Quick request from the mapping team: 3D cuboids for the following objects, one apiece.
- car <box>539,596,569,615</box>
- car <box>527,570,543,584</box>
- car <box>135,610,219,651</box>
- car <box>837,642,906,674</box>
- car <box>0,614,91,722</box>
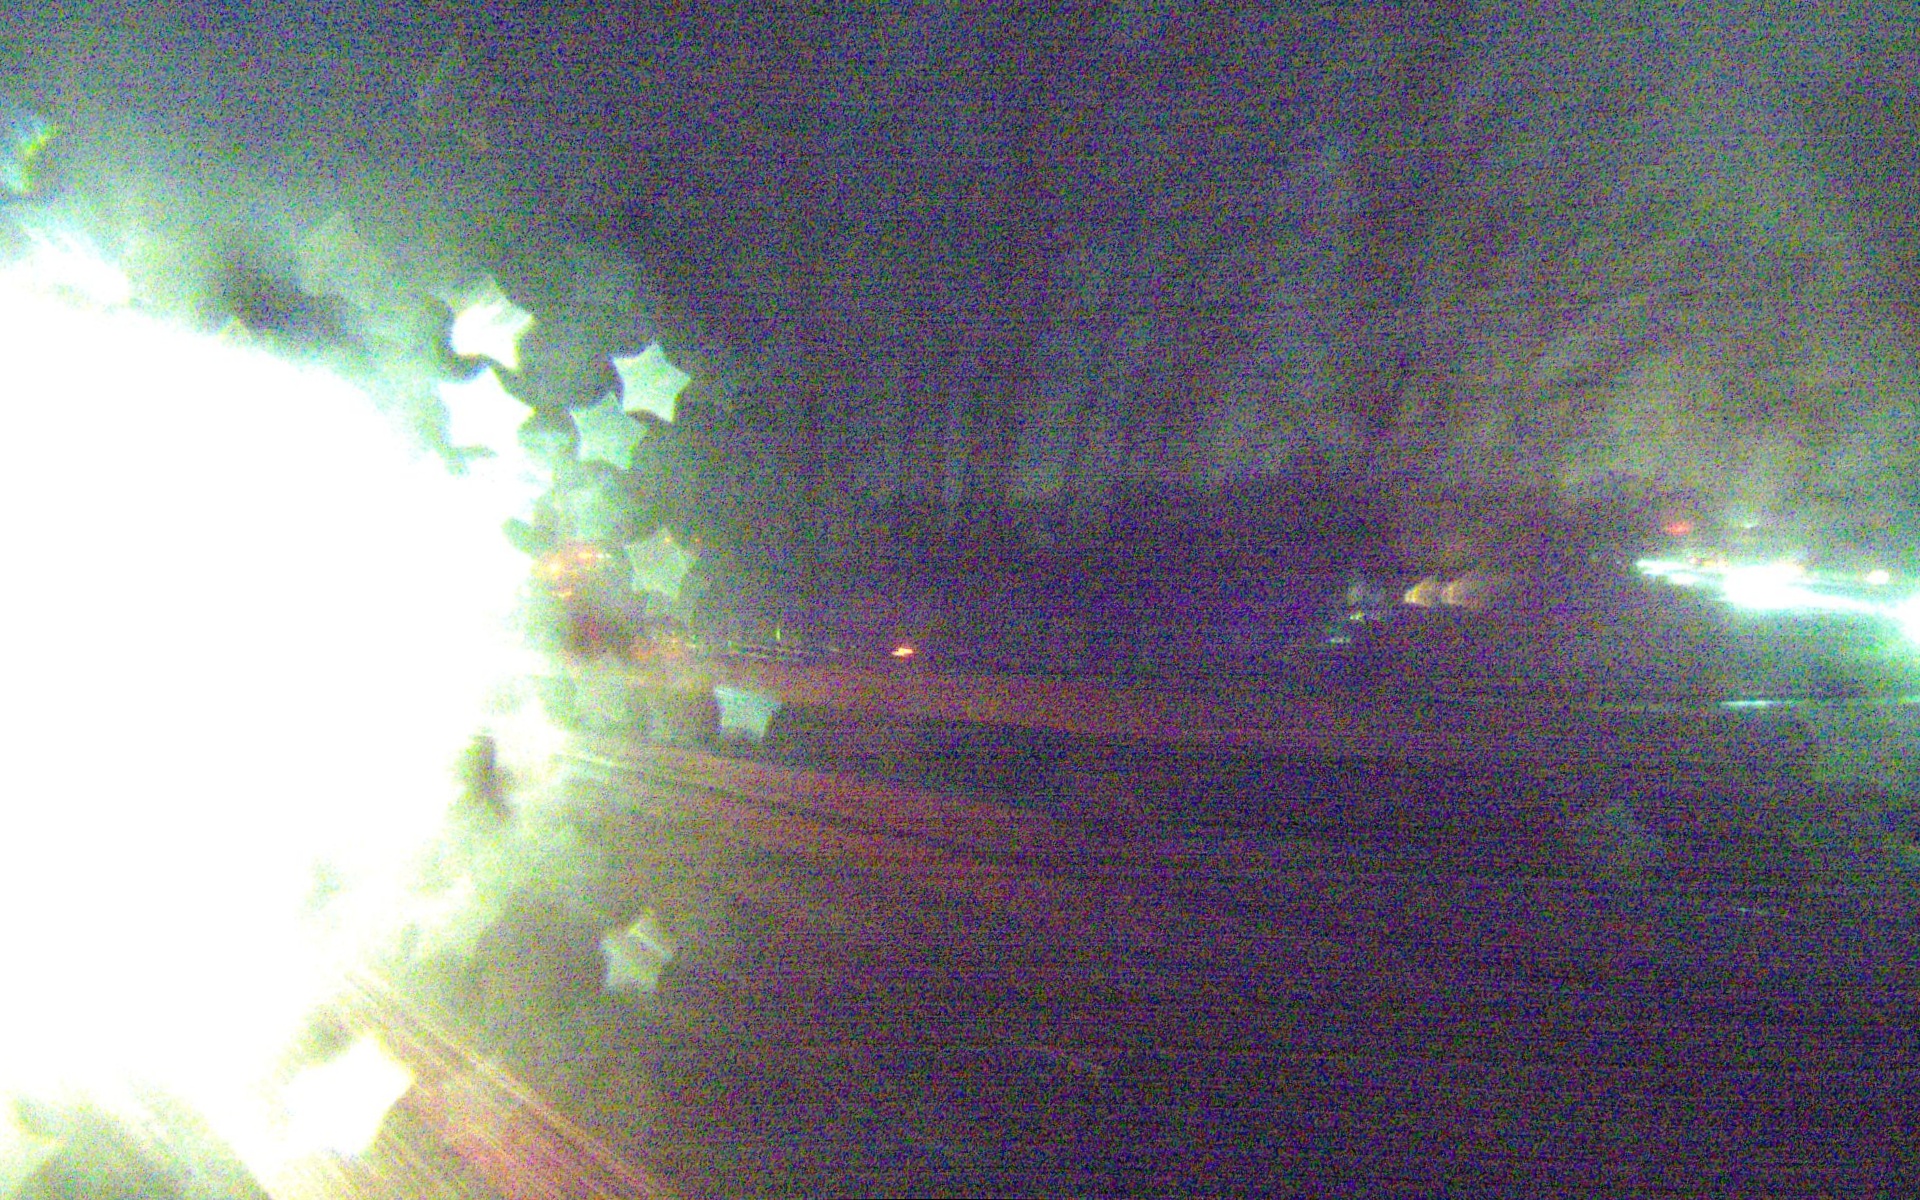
[{"bbox_3d":[-36.393,0.462,90.699,1.716,1.436,4.113,-2,5,-32],"label":"car"},{"bbox_3d":[-55.200,-2.972,131.304,1.733,1.501,4.060,0,5,-26],"label":"car"},{"bbox_3d":[-27.093,1.030,35.133,1.731,1.322,4.098,1,-1,-30],"label":"car"},{"bbox_3d":[-4.662,3.022,53.235,3.418,1.438,1.489,1,0,31],"label":"car"},{"bbox_3d":[-14.444,0.964,15.350,1.660,1.462,3.650,0,0,-37],"label":"car"}]
